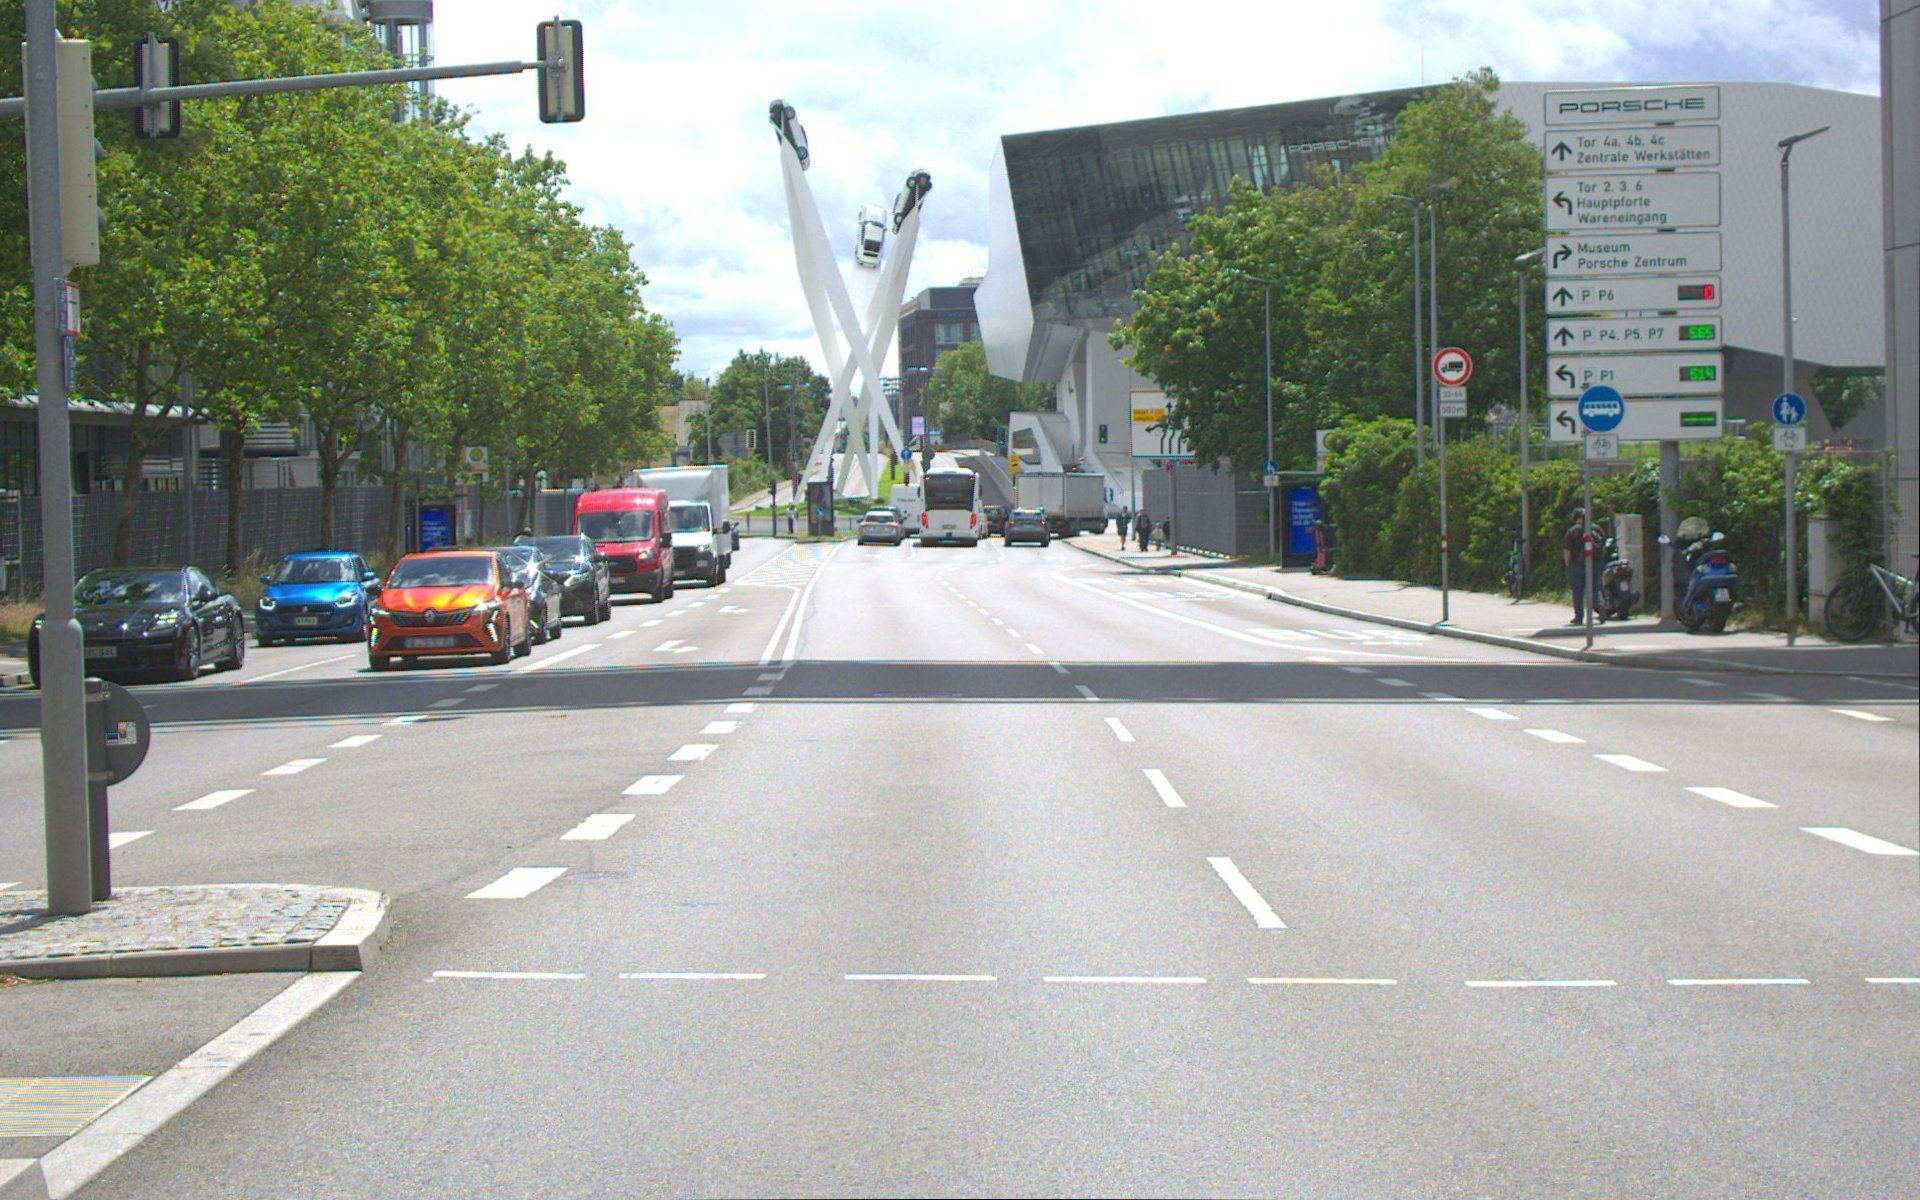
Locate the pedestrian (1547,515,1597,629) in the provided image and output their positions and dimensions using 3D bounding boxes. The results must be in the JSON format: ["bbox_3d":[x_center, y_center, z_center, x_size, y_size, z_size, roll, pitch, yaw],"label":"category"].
[{"bbox_3d":[8.860,-0.409,49.815,0.533,1.635,0.658,1,0,-6],"label":"pedestrian"}]

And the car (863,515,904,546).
[{"bbox_3d":[-3.298,-3.011,148.736,1.557,1.269,3.701,-3,1,1],"label":"car"}]

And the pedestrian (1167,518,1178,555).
[{"bbox_3d":[8.190,-2.431,132.559,0.386,1.416,0.423,1,0,0],"label":"pedestrian"}]

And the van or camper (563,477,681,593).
[{"bbox_3d":[-7.408,-1.454,75.883,2.047,2.458,5.595,0,1,0],"label":"van or camper"}]

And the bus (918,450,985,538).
[{"bbox_3d":[-0.361,-4.582,150.002,2.787,3.673,6.943,1,1,0],"label":"bus"}]

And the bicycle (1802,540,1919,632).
[{"bbox_3d":[11.168,-0.166,40.862,2.222,1.083,0.476,1,1,35],"label":"bicycle"}]

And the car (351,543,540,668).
[{"bbox_3d":[-6.492,0.038,43.736,1.769,1.415,3.701,-3,1,0],"label":"car"}]

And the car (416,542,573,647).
[{"bbox_3d":[-6.947,-0.114,51.608,1.769,1.415,3.701,-3,1,0],"label":"car"}]

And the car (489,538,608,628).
[{"bbox_3d":[-7.211,-0.324,60.547,1.557,1.443,3.773,-3,1,0],"label":"car"}]

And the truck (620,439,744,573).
[{"bbox_3d":[-7.174,-2.382,89.532,2.591,3.312,7.079,1,1,0],"label":"truck"}]

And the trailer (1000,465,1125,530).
[{"bbox_3d":[5.223,-5.079,172.163,3.322,2.984,10.366,1,1,19],"label":"trailer"}]

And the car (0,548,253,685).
[{"bbox_3d":[-10.289,0.161,42.783,1.917,1.483,4.772,-3,1,0],"label":"car"}]

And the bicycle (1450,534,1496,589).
[{"bbox_3d":[9.738,-0.731,65.257,0.418,1.019,1.913,1,1,-5],"label":"bicycle"}]

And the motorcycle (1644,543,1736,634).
[{"bbox_3d":[9.544,-0.155,45.017,0.418,1.162,1.957,1,1,-11],"label":"motorcycle"}]

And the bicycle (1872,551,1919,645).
[{"bbox_3d":[11.659,-0.009,39.532,2.222,1.083,0.476,1,1,35],"label":"bicycle"}]

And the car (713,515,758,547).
[{"bbox_3d":[-9.438,-2.917,144.710,1.557,1.269,3.701,-3,1,0],"label":"car"}]

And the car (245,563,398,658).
[{"bbox_3d":[-10.388,0.150,56.157,1.727,1.378,3.701,-3,1,0],"label":"car"}]

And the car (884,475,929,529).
[{"bbox_3d":[-2.672,-4.891,171.708,1.844,2.614,3.999,1,1,4],"label":"car"}]

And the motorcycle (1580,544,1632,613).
[{"bbox_3d":[9.764,-0.334,52.000,0.457,1.019,1.912,1,1,1],"label":"motorcycle"}]

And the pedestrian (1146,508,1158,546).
[{"bbox_3d":[7.182,-2.716,128.707,0.386,1.416,0.423,1,0,0],"label":"pedestrian"}]

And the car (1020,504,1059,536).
[{"bbox_3d":[3.367,-3.399,146.283,1.557,1.269,3.701,-3,1,1],"label":"car"}]

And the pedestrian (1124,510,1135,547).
[{"bbox_3d":[6.530,-2.764,132.676,0.386,1.416,0.423,1,0,0],"label":"pedestrian"}]
